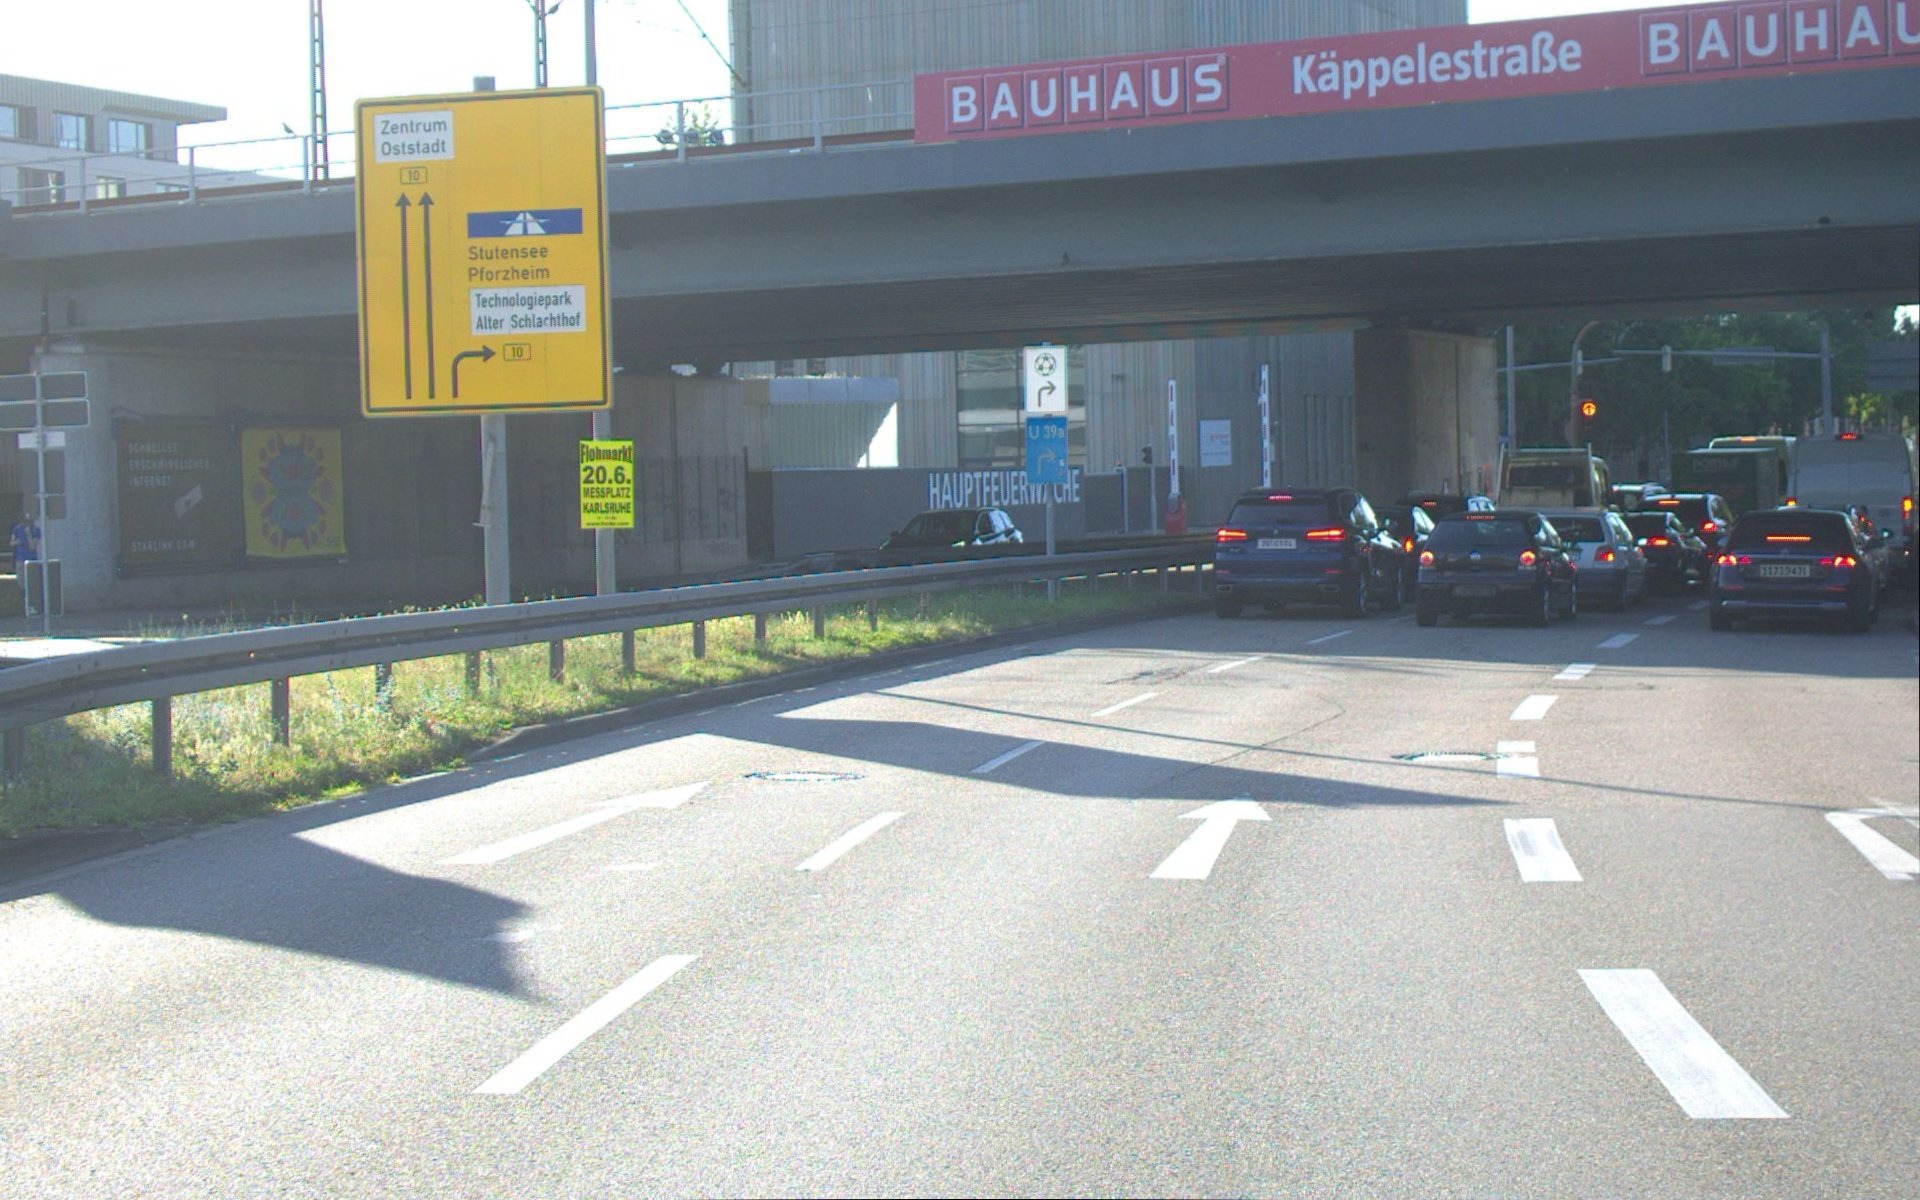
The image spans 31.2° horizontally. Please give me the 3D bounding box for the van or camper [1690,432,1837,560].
[{"bbox_3d":[16.876,-2.145,71.967,1.996,2.562,5.911,0,1,23],"label":"van or camper"}]

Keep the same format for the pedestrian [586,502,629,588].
[{"bbox_3d":[-7.798,-1.221,76.077,0.694,1.897,0.664,0,1,21],"label":"pedestrian"}]

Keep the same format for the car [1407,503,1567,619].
[{"bbox_3d":[6.717,-0.503,43.553,1.583,1.404,3.829,0,1,15],"label":"car"}]

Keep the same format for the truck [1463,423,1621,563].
[{"bbox_3d":[11.191,-2.015,65.815,2.030,2.548,5.532,0,1,20],"label":"truck"}]

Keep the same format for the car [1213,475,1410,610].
[{"bbox_3d":[4.819,-0.776,46.594,1.831,1.732,4.458,0,1,17],"label":"car"}]

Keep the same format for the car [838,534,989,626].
[{"bbox_3d":[-0.847,-0.396,65.754,1.847,1.598,4.392,-3,0,12],"label":"car"}]

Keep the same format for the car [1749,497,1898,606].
[{"bbox_3d":[12.670,-0.712,50.291,1.774,1.490,3.828,-1,0,19],"label":"car"}]

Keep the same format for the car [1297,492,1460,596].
[{"bbox_3d":[6.468,-0.862,52.885,1.842,1.435,3.673,-3,0,16],"label":"car"}]

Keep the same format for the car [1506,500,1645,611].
[{"bbox_3d":[8.734,-0.654,48.609,1.548,1.418,3.415,-3,1,15],"label":"car"}]

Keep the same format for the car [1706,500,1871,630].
[{"bbox_3d":[10.349,-0.478,42.754,1.742,1.449,4.602,0,3,17],"label":"car"}]

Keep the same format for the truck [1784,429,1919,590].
[{"bbox_3d":[15.040,-1.490,57.372,2.113,2.511,4.397,-2,1,18],"label":"truck"}]

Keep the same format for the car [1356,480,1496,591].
[{"bbox_3d":[7.988,-1.094,58.628,1.842,1.713,3.998,-3,0,14],"label":"car"}]

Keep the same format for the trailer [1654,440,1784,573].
[{"bbox_3d":[14.770,-1.802,66.800,1.866,2.456,3.828,-1,0,21],"label":"trailer"}]

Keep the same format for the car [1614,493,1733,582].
[{"bbox_3d":[12.660,-1.097,60.857,1.583,1.527,3.828,0,1,19],"label":"car"}]
